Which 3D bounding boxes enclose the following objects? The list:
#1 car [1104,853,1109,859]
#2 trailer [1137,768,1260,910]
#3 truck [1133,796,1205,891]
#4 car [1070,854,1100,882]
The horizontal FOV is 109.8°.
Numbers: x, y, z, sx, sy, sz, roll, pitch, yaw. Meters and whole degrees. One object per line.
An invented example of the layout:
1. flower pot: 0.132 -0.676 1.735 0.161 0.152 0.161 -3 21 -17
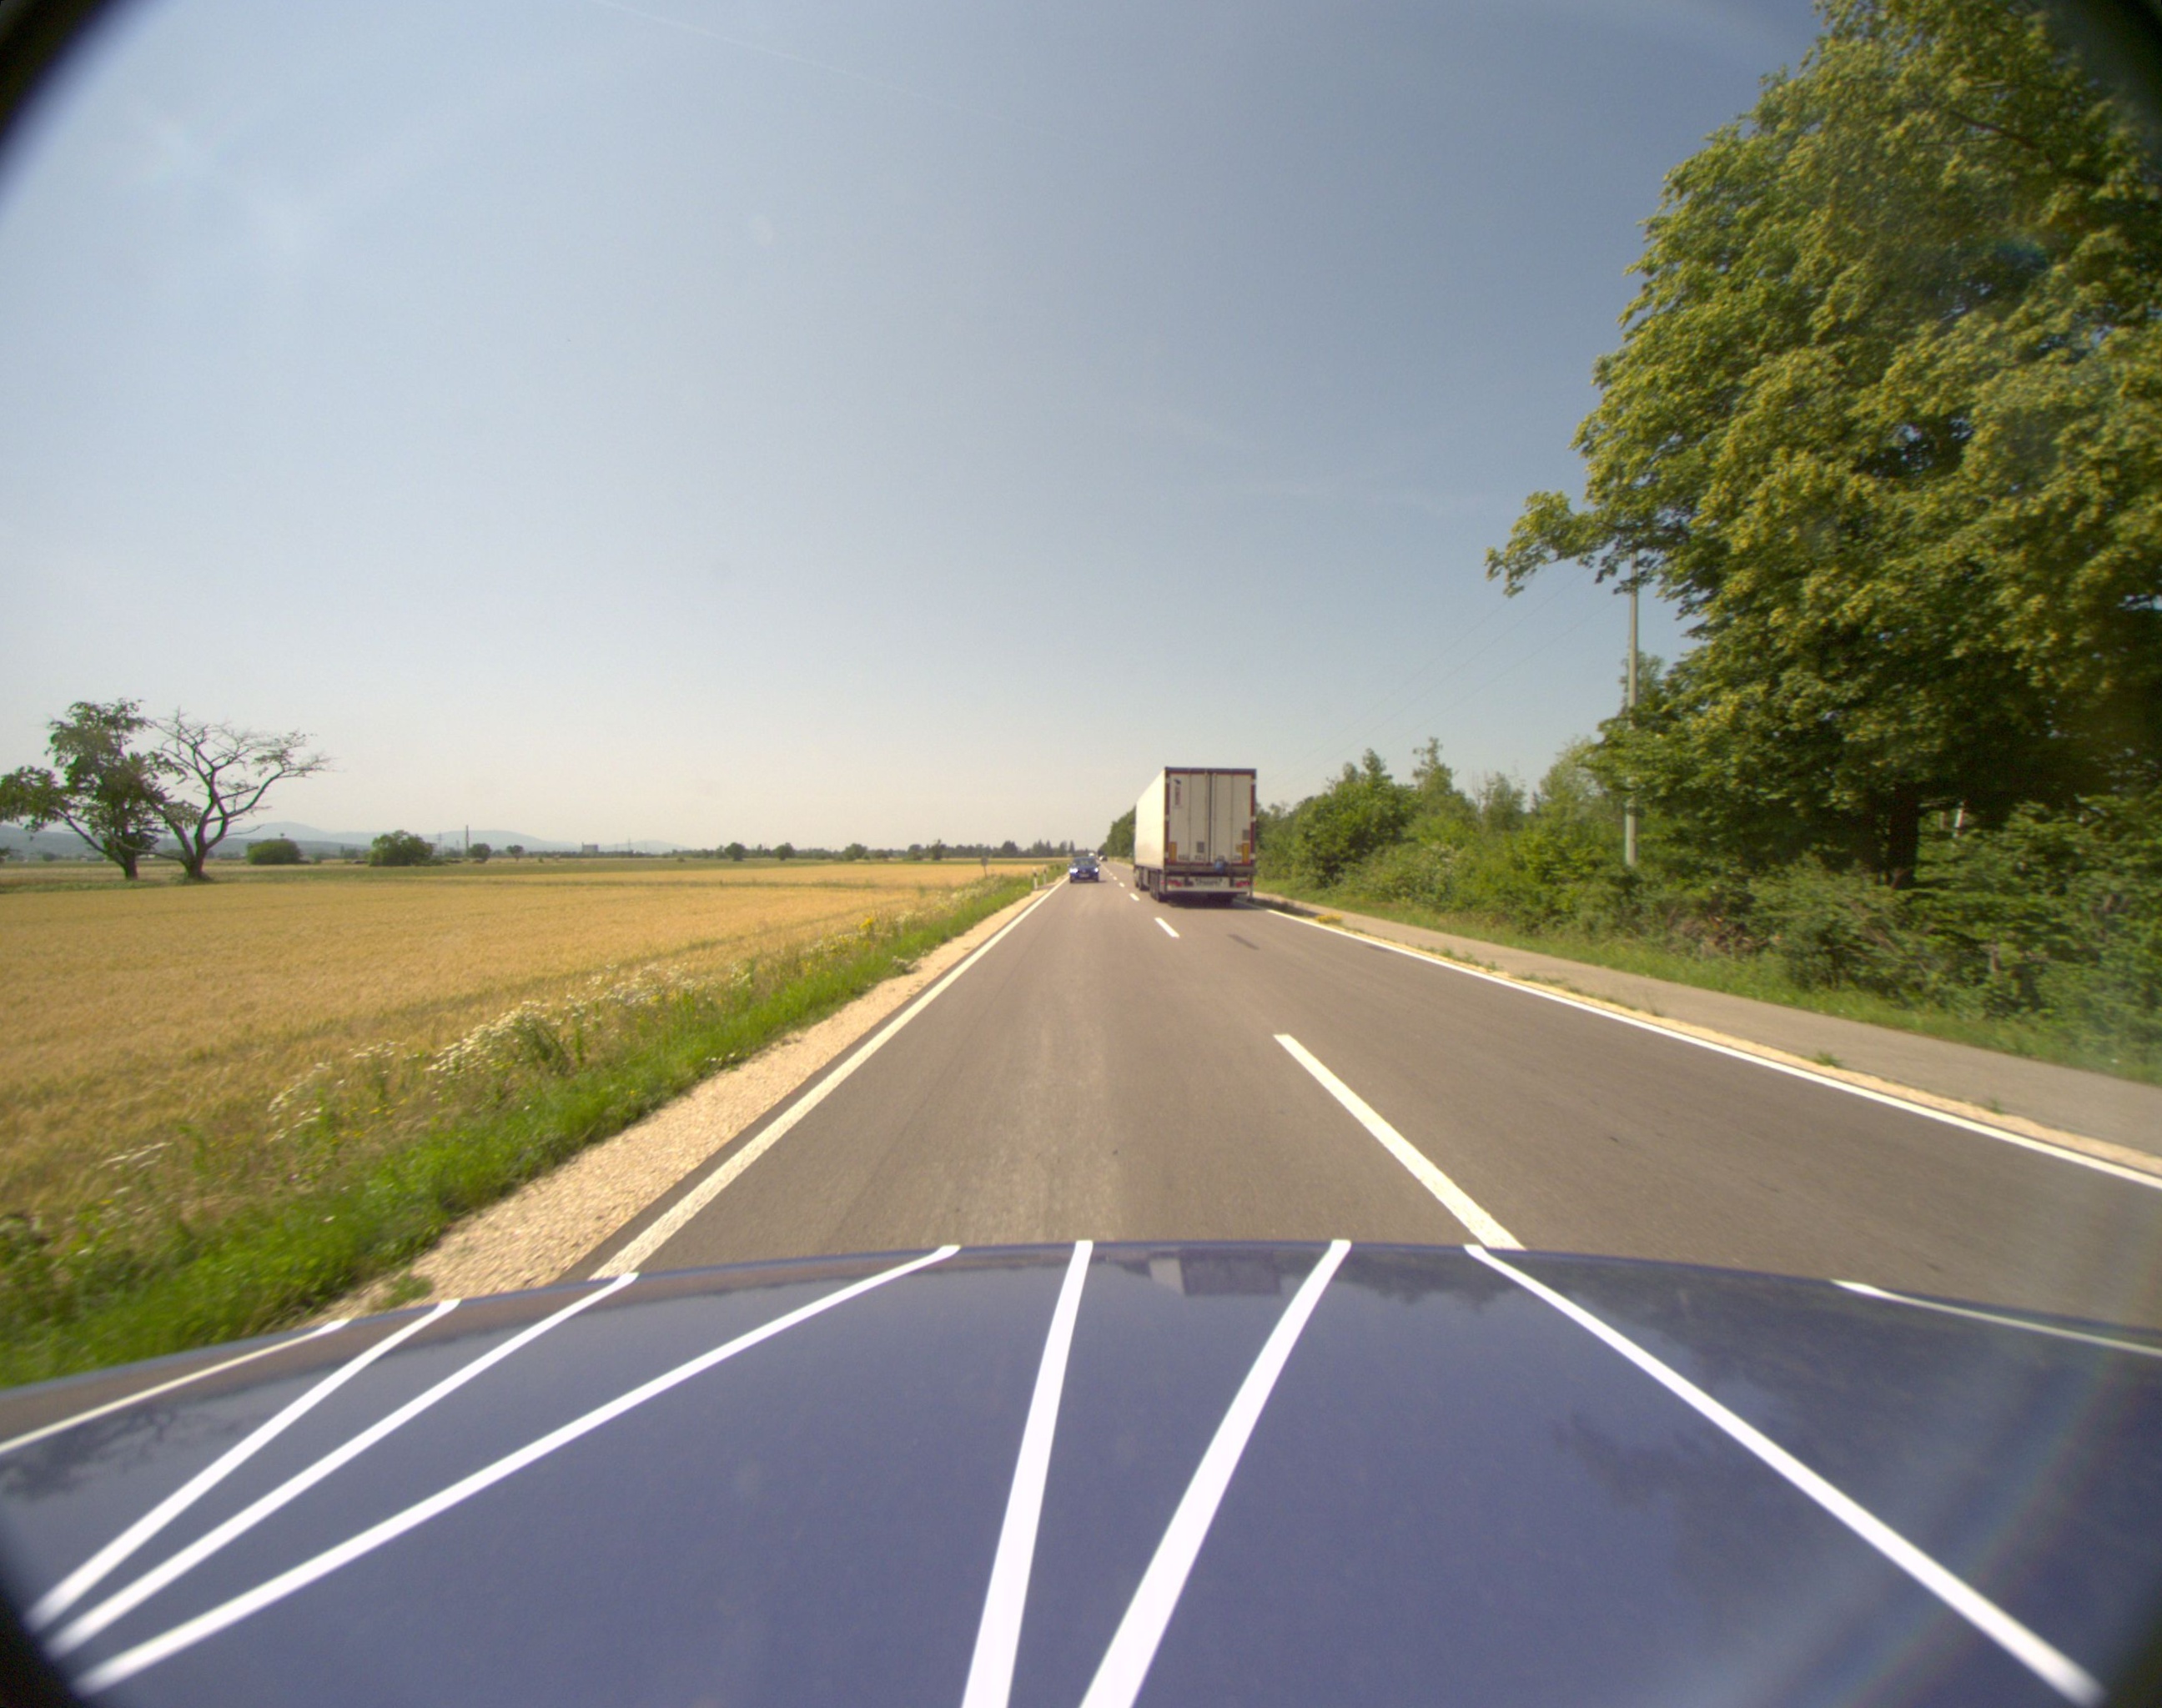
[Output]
1. car: 7.451 0.536 221.098 1.661 1.508 4.000 0 0 2
2. trailer: 3.784 -0.434 27.969 2.660 3.954 13.353 1 0 1
3. truck: 3.889 -0.451 34.602 2.662 3.954 5.727 1 0 1
4. car: 0.255 0.815 45.957 1.662 1.509 4.000 -2 0 0
